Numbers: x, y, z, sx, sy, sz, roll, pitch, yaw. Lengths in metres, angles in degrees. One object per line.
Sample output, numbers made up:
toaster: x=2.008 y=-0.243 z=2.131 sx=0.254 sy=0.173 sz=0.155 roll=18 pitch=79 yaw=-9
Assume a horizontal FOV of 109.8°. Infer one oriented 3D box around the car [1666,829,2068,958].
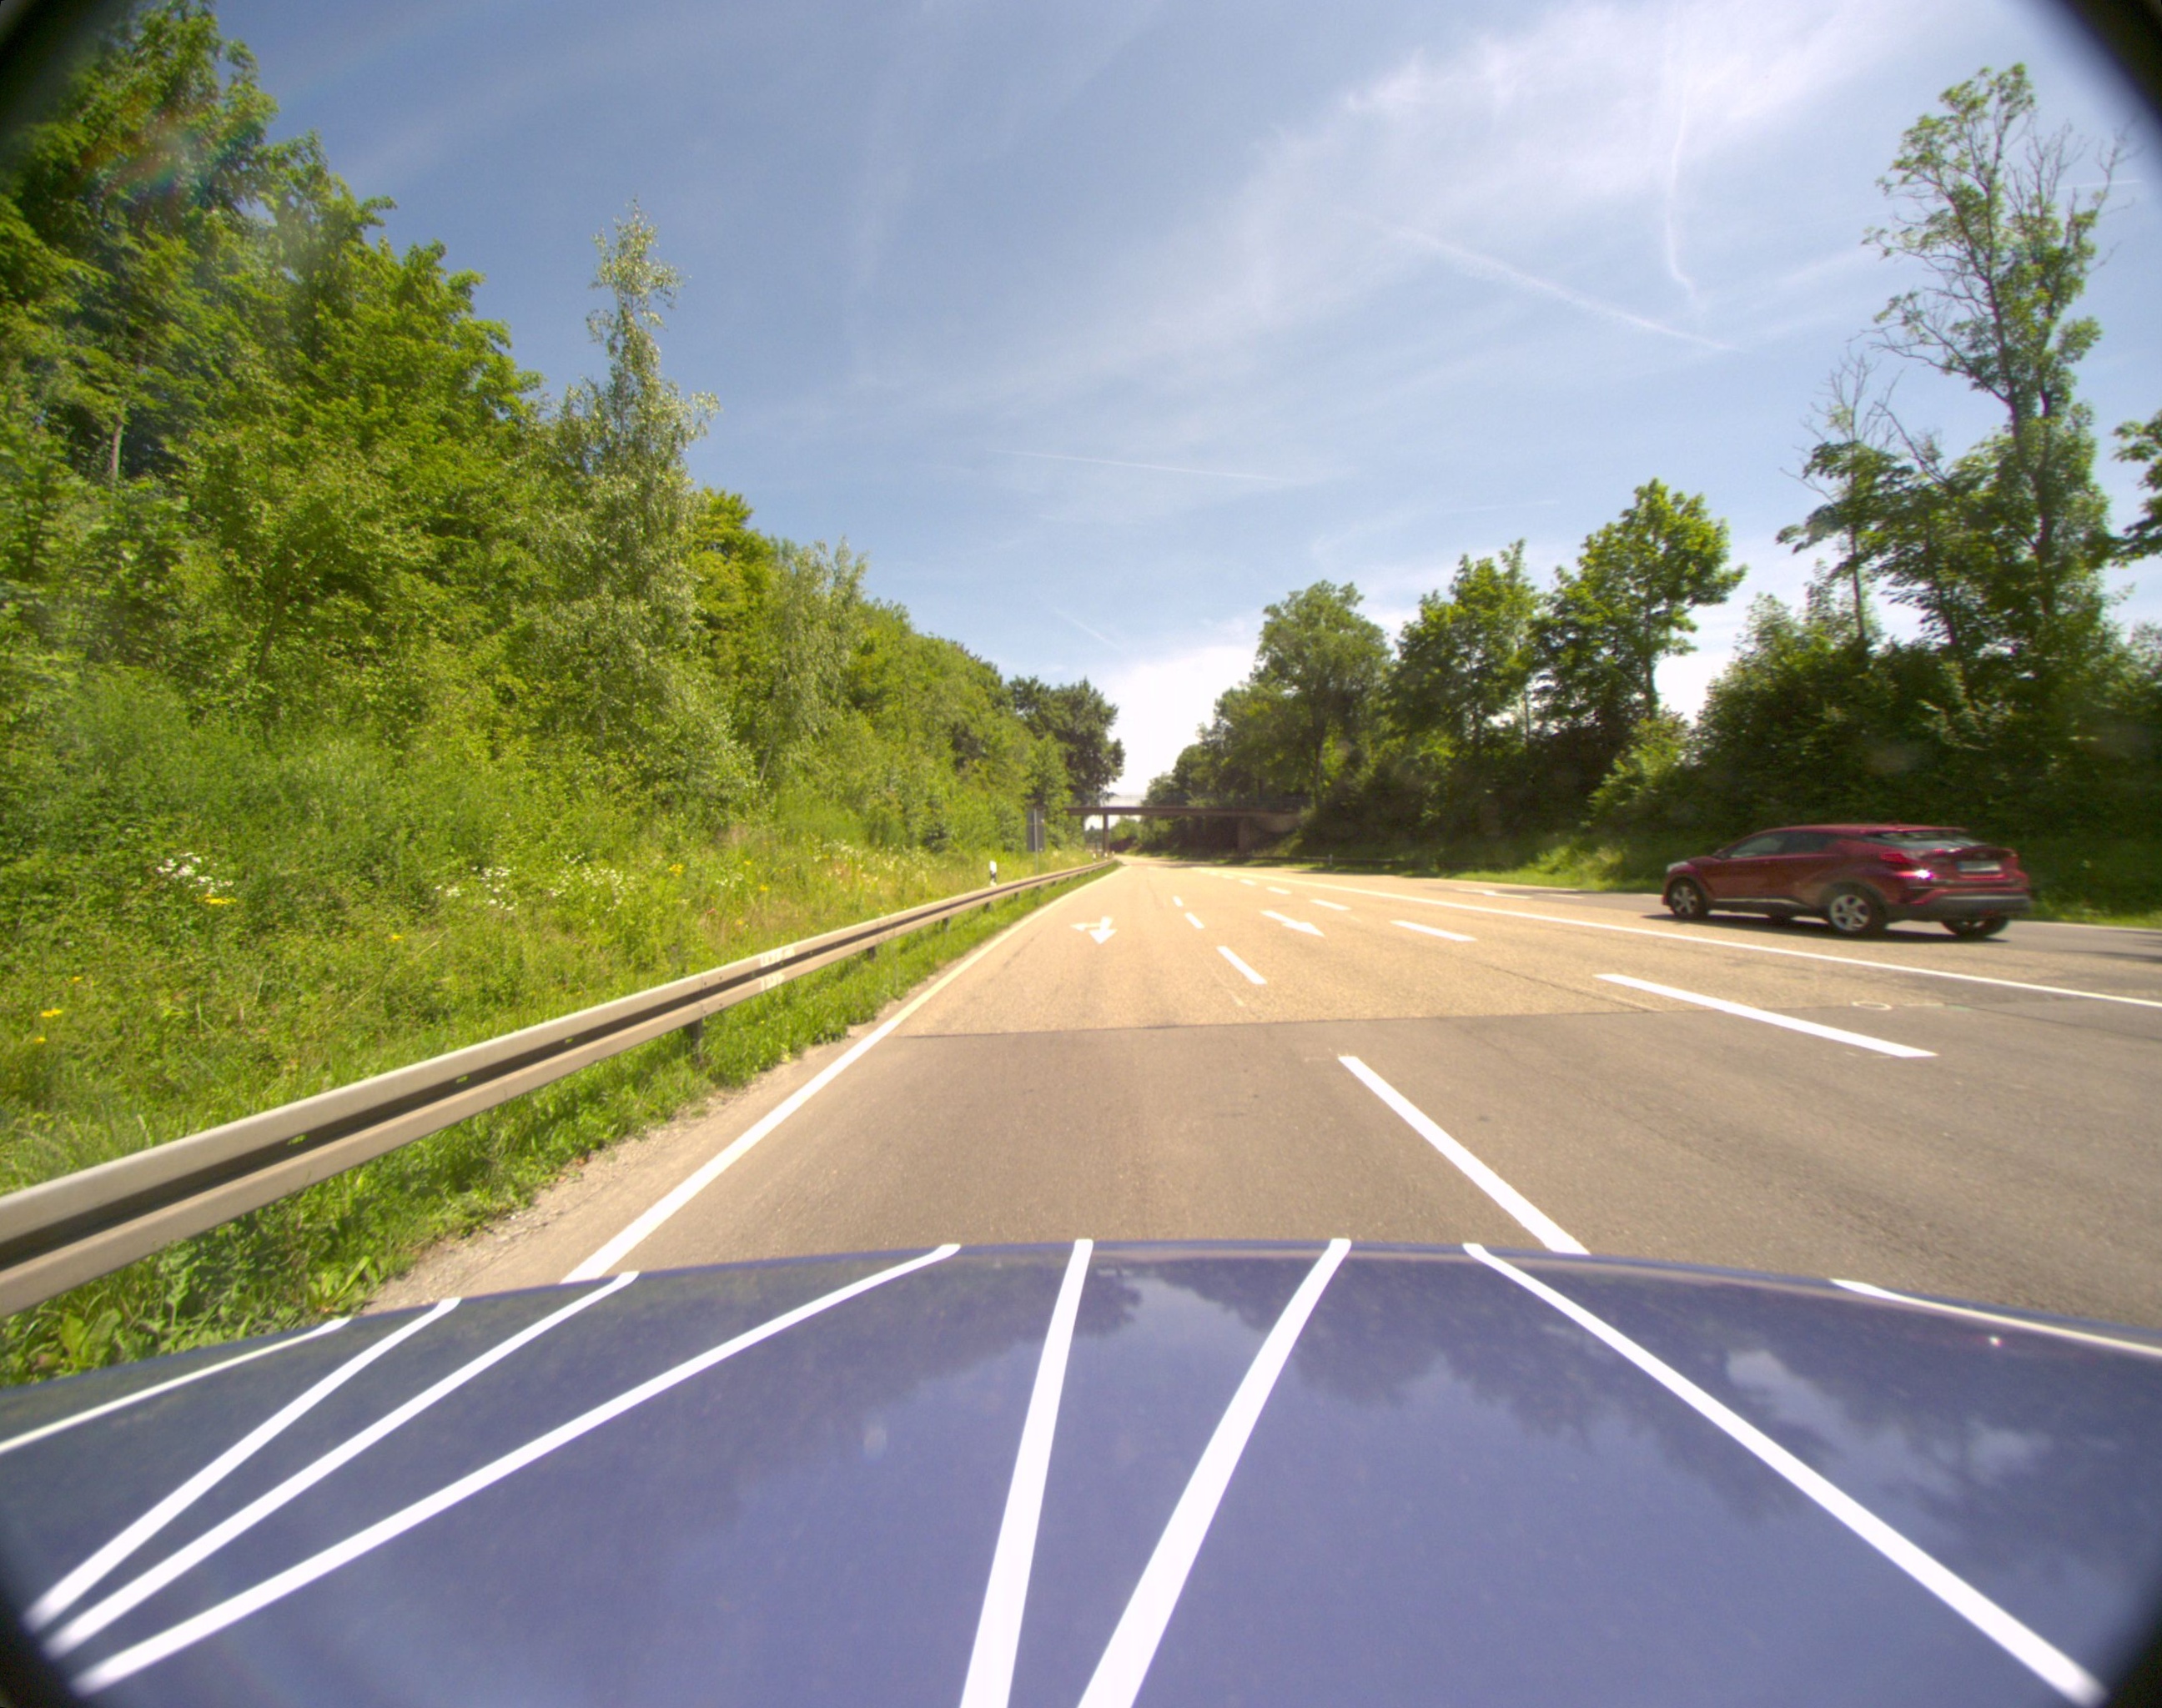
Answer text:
car: x=10.957 y=0.462 z=11.058 sx=1.908 sy=1.500 sz=3.763 roll=-2 pitch=0 yaw=-1
